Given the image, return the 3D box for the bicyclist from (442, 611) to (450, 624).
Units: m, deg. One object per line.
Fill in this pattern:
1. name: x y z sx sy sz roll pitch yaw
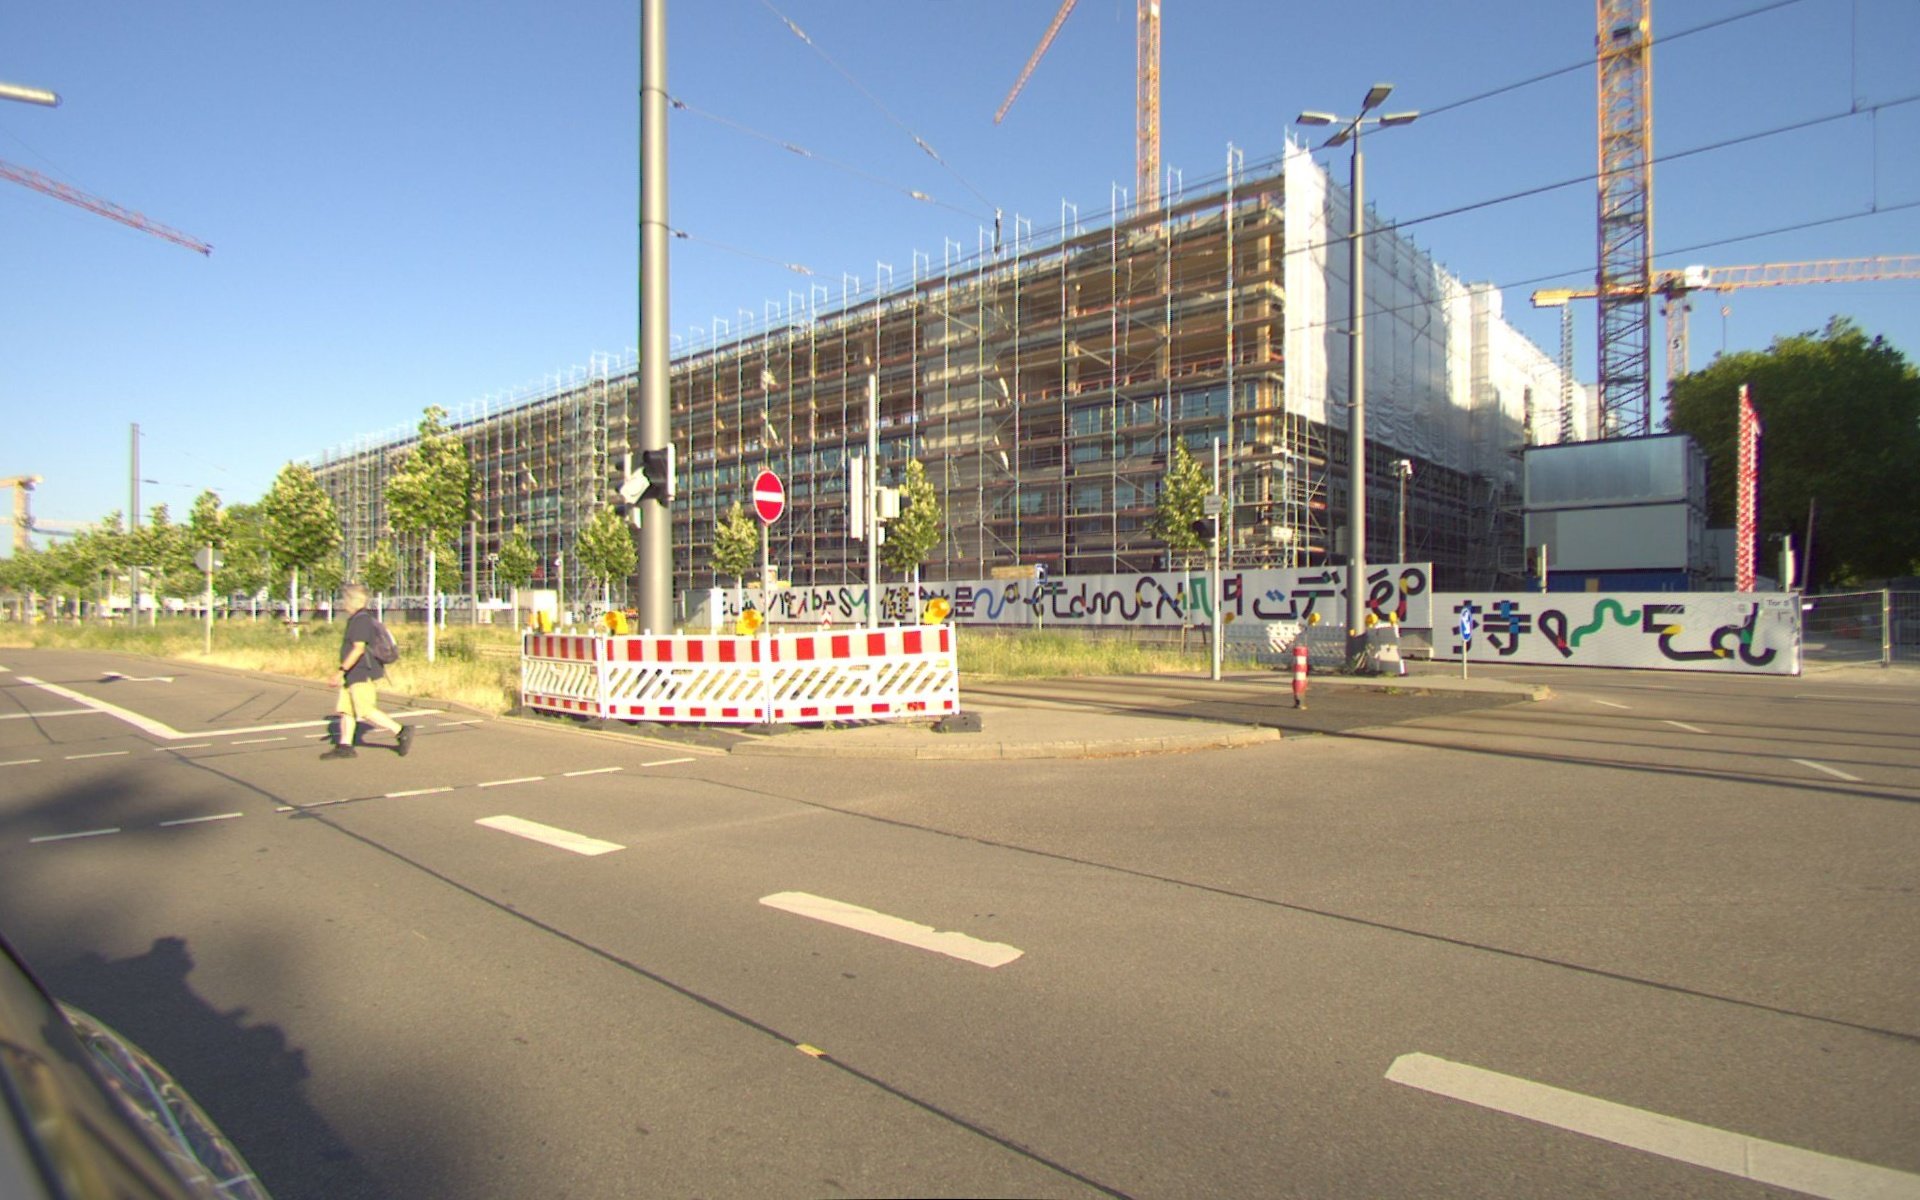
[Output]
1. bicyclist: -45.298 1.565 89.177 0.638 1.162 0.473 -1 -1 42

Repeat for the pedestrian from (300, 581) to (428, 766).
1. pedestrian: -5.727 0.668 9.730 0.913 1.661 0.766 1 -1 -42

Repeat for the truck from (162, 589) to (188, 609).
1. truck: -106.527 -0.151 137.277 4.740 2.593 2.114 -1 -1 43

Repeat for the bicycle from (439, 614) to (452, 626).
1. bicycle: -45.350 1.773 89.190 1.564 1.069 0.473 -1 -1 42

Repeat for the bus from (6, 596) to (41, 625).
1. bus: -108.104 1.285 116.754 2.686 3.247 8.661 1 -1 -44
